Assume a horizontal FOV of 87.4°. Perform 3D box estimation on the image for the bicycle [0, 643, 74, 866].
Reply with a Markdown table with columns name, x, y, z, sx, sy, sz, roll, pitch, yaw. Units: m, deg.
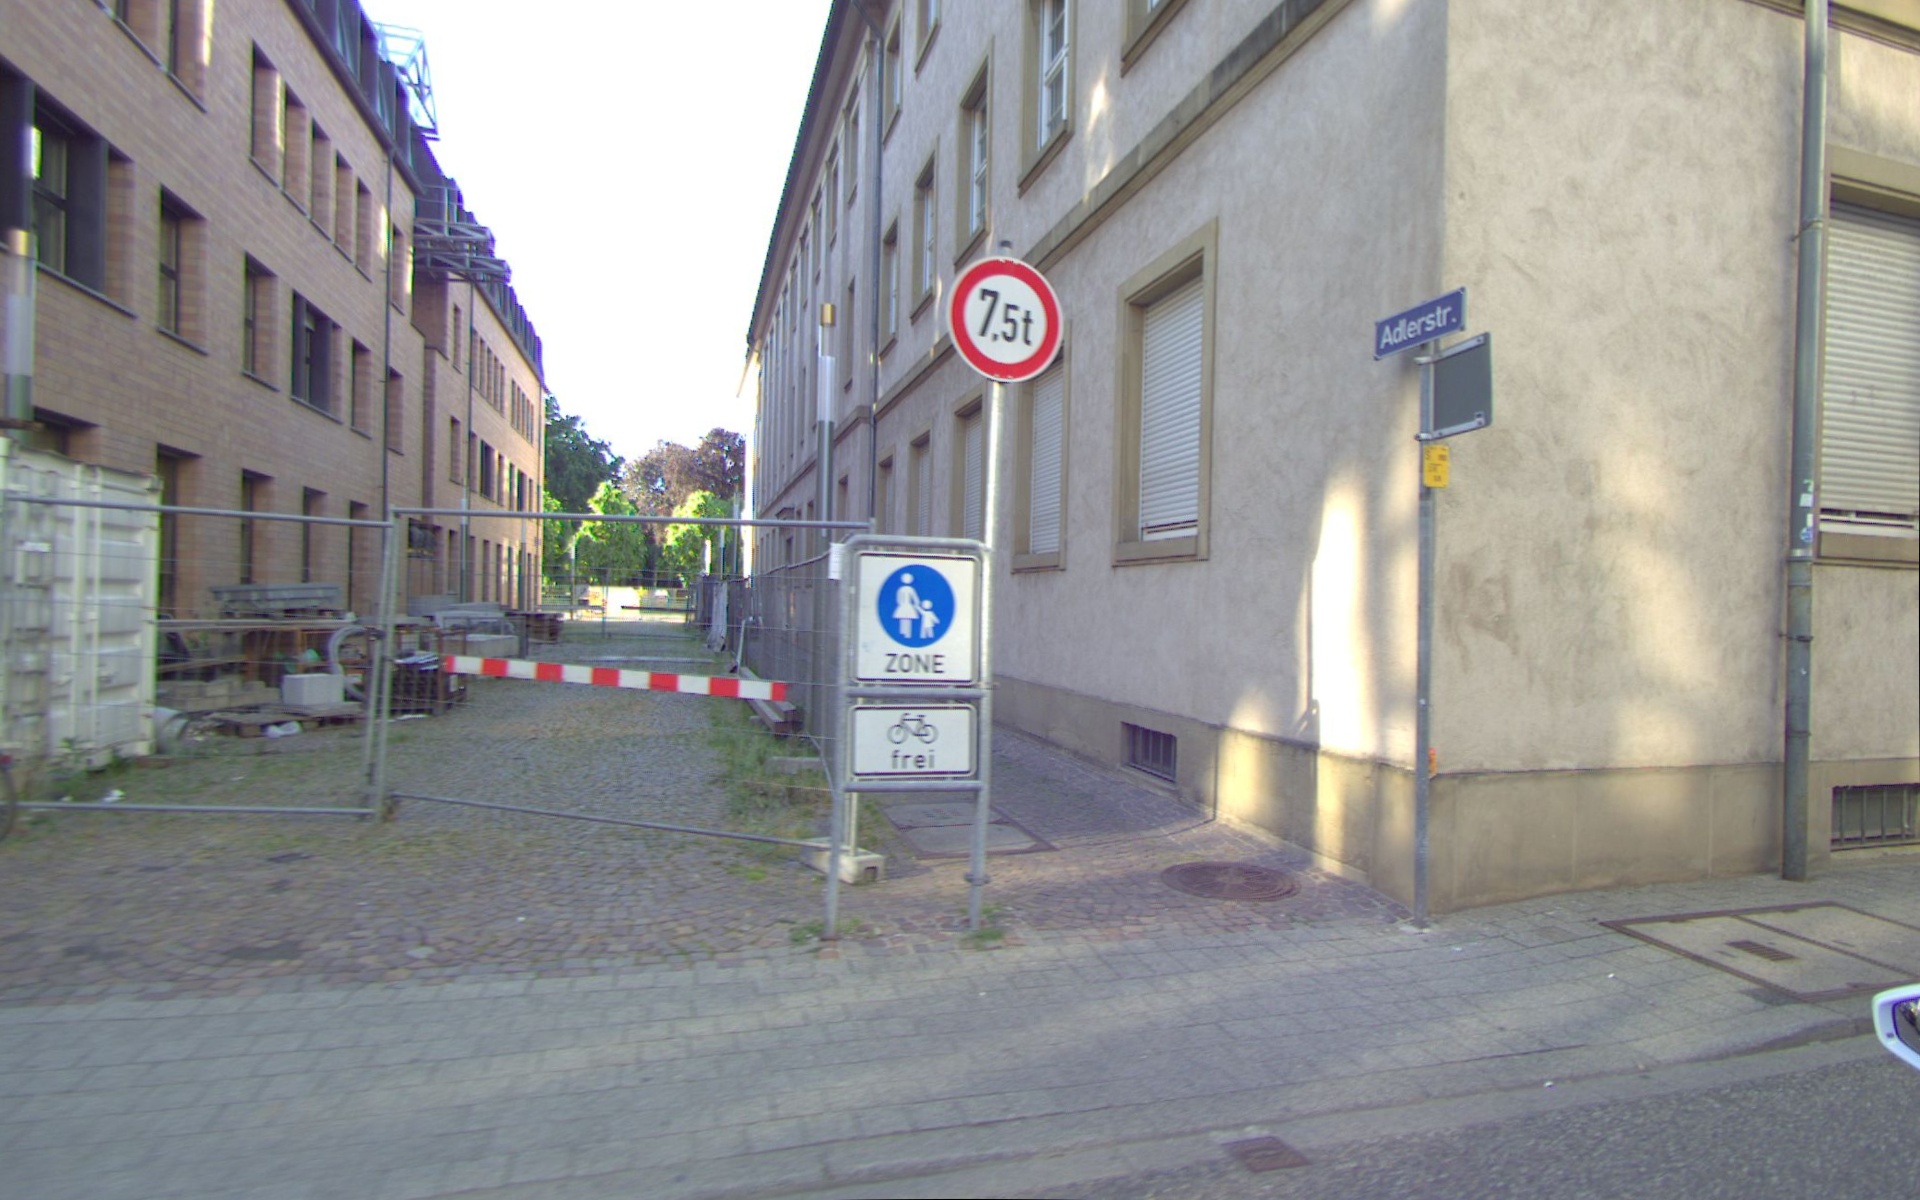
| name | x | y | z | sx | sy | sz | roll | pitch | yaw |
| --- | --- | --- | --- | --- | --- | --- | --- | --- | --- |
| bicycle | -5.848 | 0.819 | 5.569 | 1.559 | 1.159 | 0.432 | 1 | 0 | 5 |
